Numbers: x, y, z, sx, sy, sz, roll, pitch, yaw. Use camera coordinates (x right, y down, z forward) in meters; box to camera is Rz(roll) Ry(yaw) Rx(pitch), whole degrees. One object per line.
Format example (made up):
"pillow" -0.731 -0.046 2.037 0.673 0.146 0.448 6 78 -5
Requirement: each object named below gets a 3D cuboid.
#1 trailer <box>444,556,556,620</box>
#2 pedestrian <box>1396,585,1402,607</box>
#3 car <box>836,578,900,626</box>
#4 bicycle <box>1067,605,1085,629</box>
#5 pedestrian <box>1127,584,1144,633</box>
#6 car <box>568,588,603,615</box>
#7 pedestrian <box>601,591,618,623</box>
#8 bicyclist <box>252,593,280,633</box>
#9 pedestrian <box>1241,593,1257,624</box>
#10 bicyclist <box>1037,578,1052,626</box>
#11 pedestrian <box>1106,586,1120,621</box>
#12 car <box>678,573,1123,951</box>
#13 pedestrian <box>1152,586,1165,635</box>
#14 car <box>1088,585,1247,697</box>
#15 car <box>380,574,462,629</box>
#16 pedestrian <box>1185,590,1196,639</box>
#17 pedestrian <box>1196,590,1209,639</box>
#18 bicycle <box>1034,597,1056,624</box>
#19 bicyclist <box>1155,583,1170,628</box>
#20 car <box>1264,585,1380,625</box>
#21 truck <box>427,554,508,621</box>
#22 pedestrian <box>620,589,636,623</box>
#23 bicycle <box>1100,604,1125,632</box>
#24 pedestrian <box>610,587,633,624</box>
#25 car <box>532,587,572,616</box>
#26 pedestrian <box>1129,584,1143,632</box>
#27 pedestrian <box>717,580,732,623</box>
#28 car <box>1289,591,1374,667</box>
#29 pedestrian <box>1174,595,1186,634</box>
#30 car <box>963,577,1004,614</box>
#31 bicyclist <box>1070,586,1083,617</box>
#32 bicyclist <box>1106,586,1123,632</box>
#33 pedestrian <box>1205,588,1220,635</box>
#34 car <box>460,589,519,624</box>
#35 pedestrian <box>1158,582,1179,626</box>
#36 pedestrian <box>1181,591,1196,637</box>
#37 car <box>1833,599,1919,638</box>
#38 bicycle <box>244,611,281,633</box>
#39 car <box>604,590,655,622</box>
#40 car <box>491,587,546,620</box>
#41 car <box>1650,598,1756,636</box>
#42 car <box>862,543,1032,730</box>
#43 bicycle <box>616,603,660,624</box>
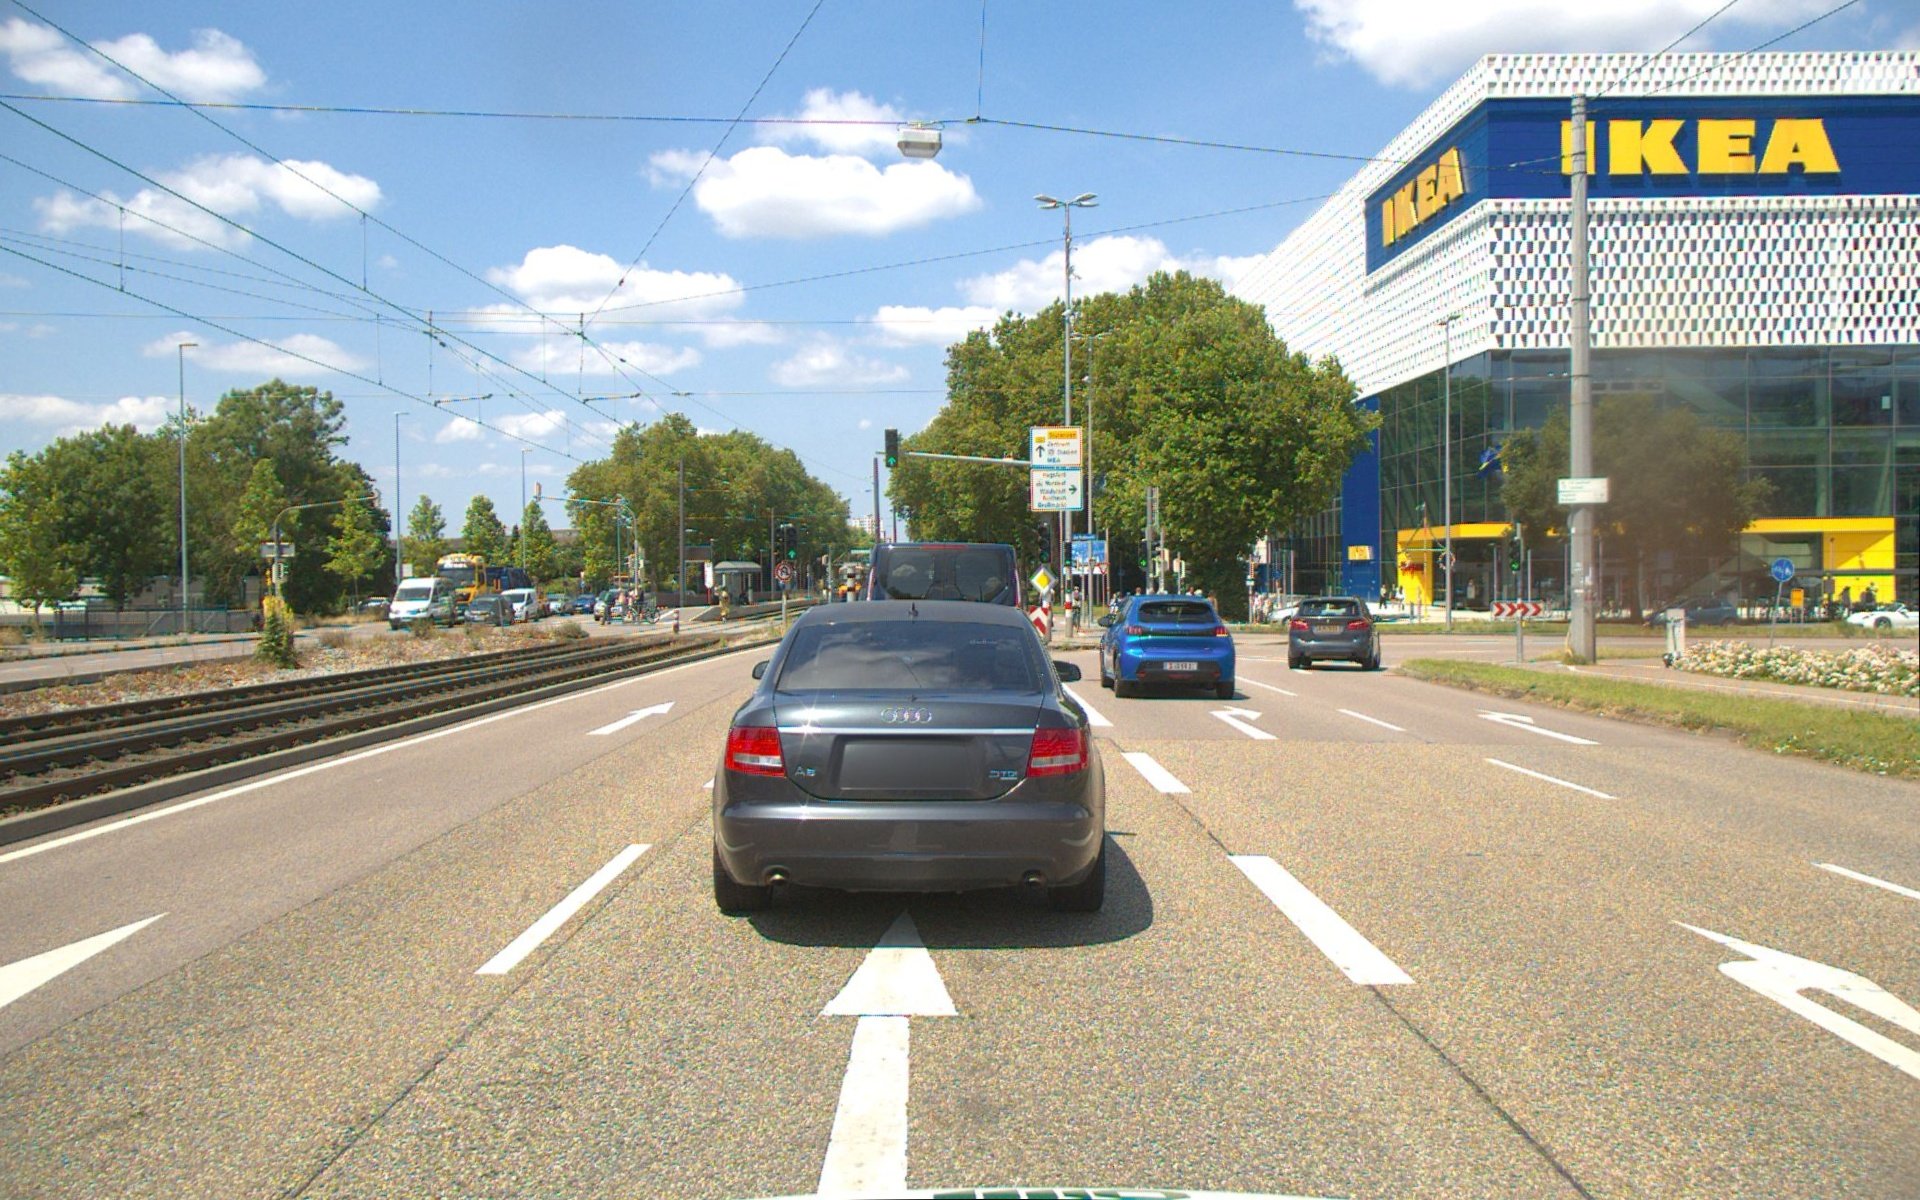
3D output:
"trailer" -28.006 -0.737 101.656 2.711 3.580 15.875 0 0 -1
"pedestrian" 27.907 -0.247 105.191 0.283 1.366 0.266 0 0 -1
"car" -3.056 0.039 55.608 1.953 1.512 4.000 2 1 -1
"bicycle" 4.469 0.650 63.922 0.538 0.892 1.697 1 0 -2
"pedestrian" 6.085 0.297 57.393 0.542 1.663 0.433 1 0 2
"car" -27.821 0.085 122.900 1.781 1.916 3.999 0 0 -1
"pedestrian" -16.424 0.322 77.539 0.671 1.468 0.572 0 0 -4
"bicyclist" -32.055 0.595 76.384 1.097 1.805 0.340 0 0 -6
"pedestrian" 15.020 0.428 85.996 0.690 1.571 0.678 1 0 18
"bicyclist" 3.301 0.079 64.382 0.518 1.820 1.088 0 0 0
"pedestrian" 6.734 0.153 72.831 0.483 1.546 0.707 1 0 17
"car" -0.258 0.623 8.627 1.756 1.480 4.000 -1 1 -1
"pedestrian" 6.727 0.358 56.094 0.373 1.663 0.377 1 0 2
"car" 3.000 0.545 24.694 1.800 1.480 4.000 2 1 -1
"car" -27.636 0.012 85.086 2.198 2.634 6.233 -2 1 -2
"pedestrian" 7.873 0.491 56.496 0.314 1.663 0.377 1 0 2
"pedestrian" 8.271 0.482 56.494 0.389 1.663 0.371 1 0 2
"bicycle" 3.329 0.407 64.950 0.673 1.011 2.751 1 0 0
"bicyclist" 8.082 0.219 65.998 0.517 1.795 0.828 0 0 13
"car" 15.054 0.191 68.931 4.403 1.512 2.001 2 1 3
"truck" -27.881 -0.695 93.936 2.711 3.631 6.438 0 0 -1
"pedestrian" -15.801 0.270 78.660 0.671 1.592 0.572 0 0 -4
"bicycle" 5.801 0.684 62.933 0.673 1.023 2.751 1 0 0
"pedestrian" -16.435 0.264 80.352 0.806 1.750 0.775 0 0 21
"car" -27.915 0.105 113.252 1.781 1.916 3.999 0 0 -1
"pedestrian" 6.101 0.265 57.391 0.435 1.663 0.430 1 0 2
"pedestrian" -11.355 0.076 79.777 0.672 2.049 0.572 0 0 -5
"car" 8.115 0.583 36.224 1.723 1.553 4.103 0 0 12
"pedestrian" 7.487 0.500 56.323 0.365 1.326 0.365 1 0 2
"car" 1.467 -0.283 106.304 1.956 2.349 4.767 0 0 -7
"bicyclist" 4.473 0.058 63.663 0.461 1.214 0.791 0 0 1
"bicyclist" 5.870 0.343 62.897 0.518 1.705 1.088 0 0 -1
"pedestrian" 9.220 0.406 60.396 0.510 1.699 0.494 1 0 2
"car" -24.093 0.287 84.853 1.785 1.699 4.461 1 1 -1
"pedestrian" 8.954 0.168 71.027 0.671 1.878 0.706 1 0 25
"pedestrian" 8.352 0.499 60.414 0.493 1.663 0.449 1 0 2
"car" 39.192 0.802 69.061 4.403 1.512 2.001 2 1 3
"bicycle" -32.212 1.007 76.400 1.461 1.004 0.485 1 0 -5
"car" -18.098 0.302 90.711 1.784 1.699 4.462 1 1 2
"car" -24.491 0.172 91.806 1.785 1.699 4.462 1 1 1
"car" 32.303 0.743 71.993 3.710 1.512 2.001 2 1 3
"car" -0.170 0.385 19.549 1.799 1.984 3.999 0 0 -1
"bicycle" -14.930 0.624 76.720 2.019 0.941 0.751 0 0 -11
